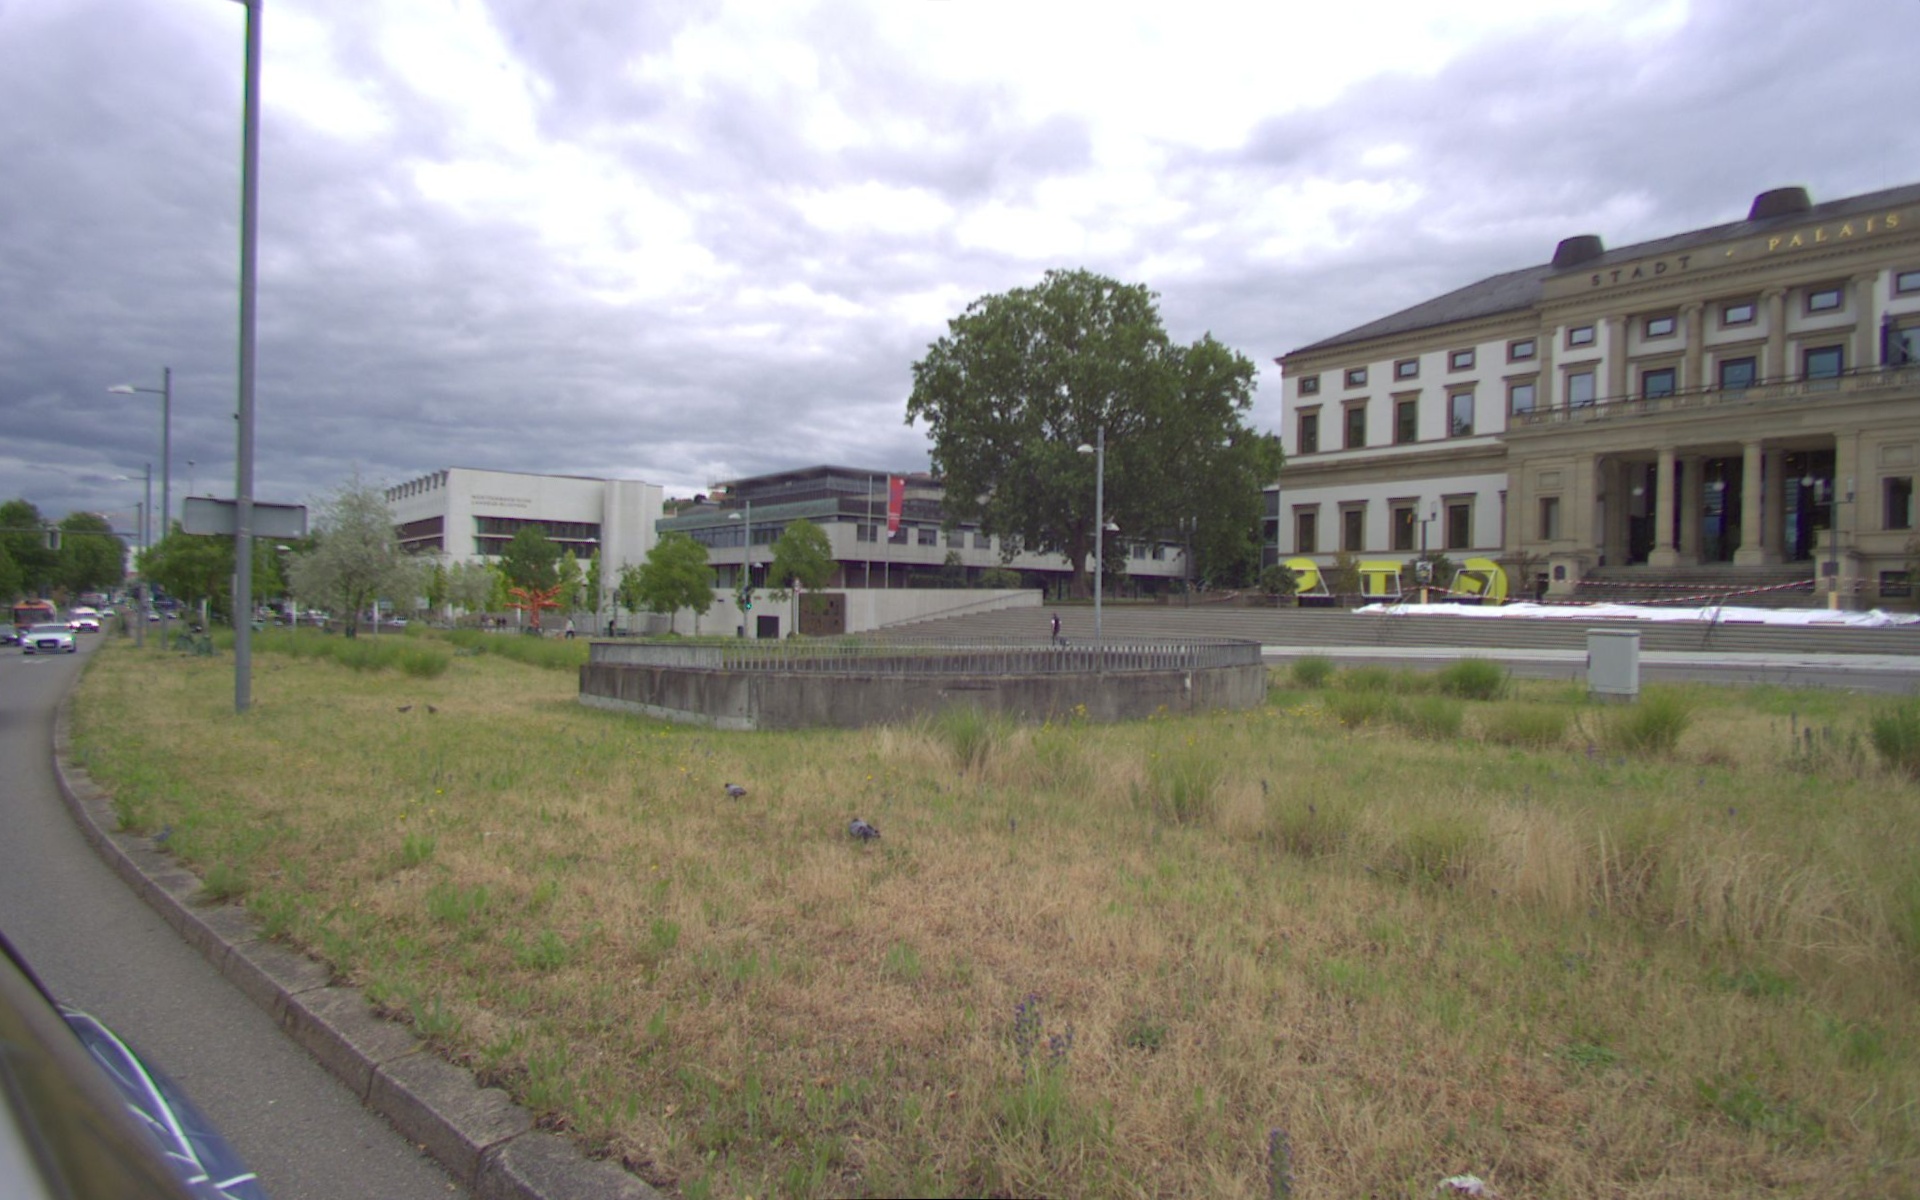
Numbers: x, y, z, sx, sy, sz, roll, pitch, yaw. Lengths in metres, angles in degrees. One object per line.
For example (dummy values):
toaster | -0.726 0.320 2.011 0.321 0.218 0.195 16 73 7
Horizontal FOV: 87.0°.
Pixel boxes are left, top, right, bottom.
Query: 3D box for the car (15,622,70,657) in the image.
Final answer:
car | -44.118 1.874 48.662 4.002 1.559 1.737 -1 -1 45

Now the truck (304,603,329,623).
truck | -98.160 2.008 154.339 2.432 2.838 7.091 0 -2 -39

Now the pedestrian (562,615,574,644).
pedestrian | -24.605 1.849 63.486 0.533 1.747 0.664 0 -1 -40

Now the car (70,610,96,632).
car | -94.170 2.235 108.694 1.968 2.245 4.008 0 -1 -38

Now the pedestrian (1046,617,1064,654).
pedestrian | 4.374 1.615 46.584 0.517 1.661 0.651 -1 0 -41

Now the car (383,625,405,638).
car | -73.064 4.077 130.577 1.697 1.586 4.621 0 -2 -39

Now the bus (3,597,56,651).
bus | -79.118 2.024 86.173 2.998 4.385 8.763 0 -1 -41
